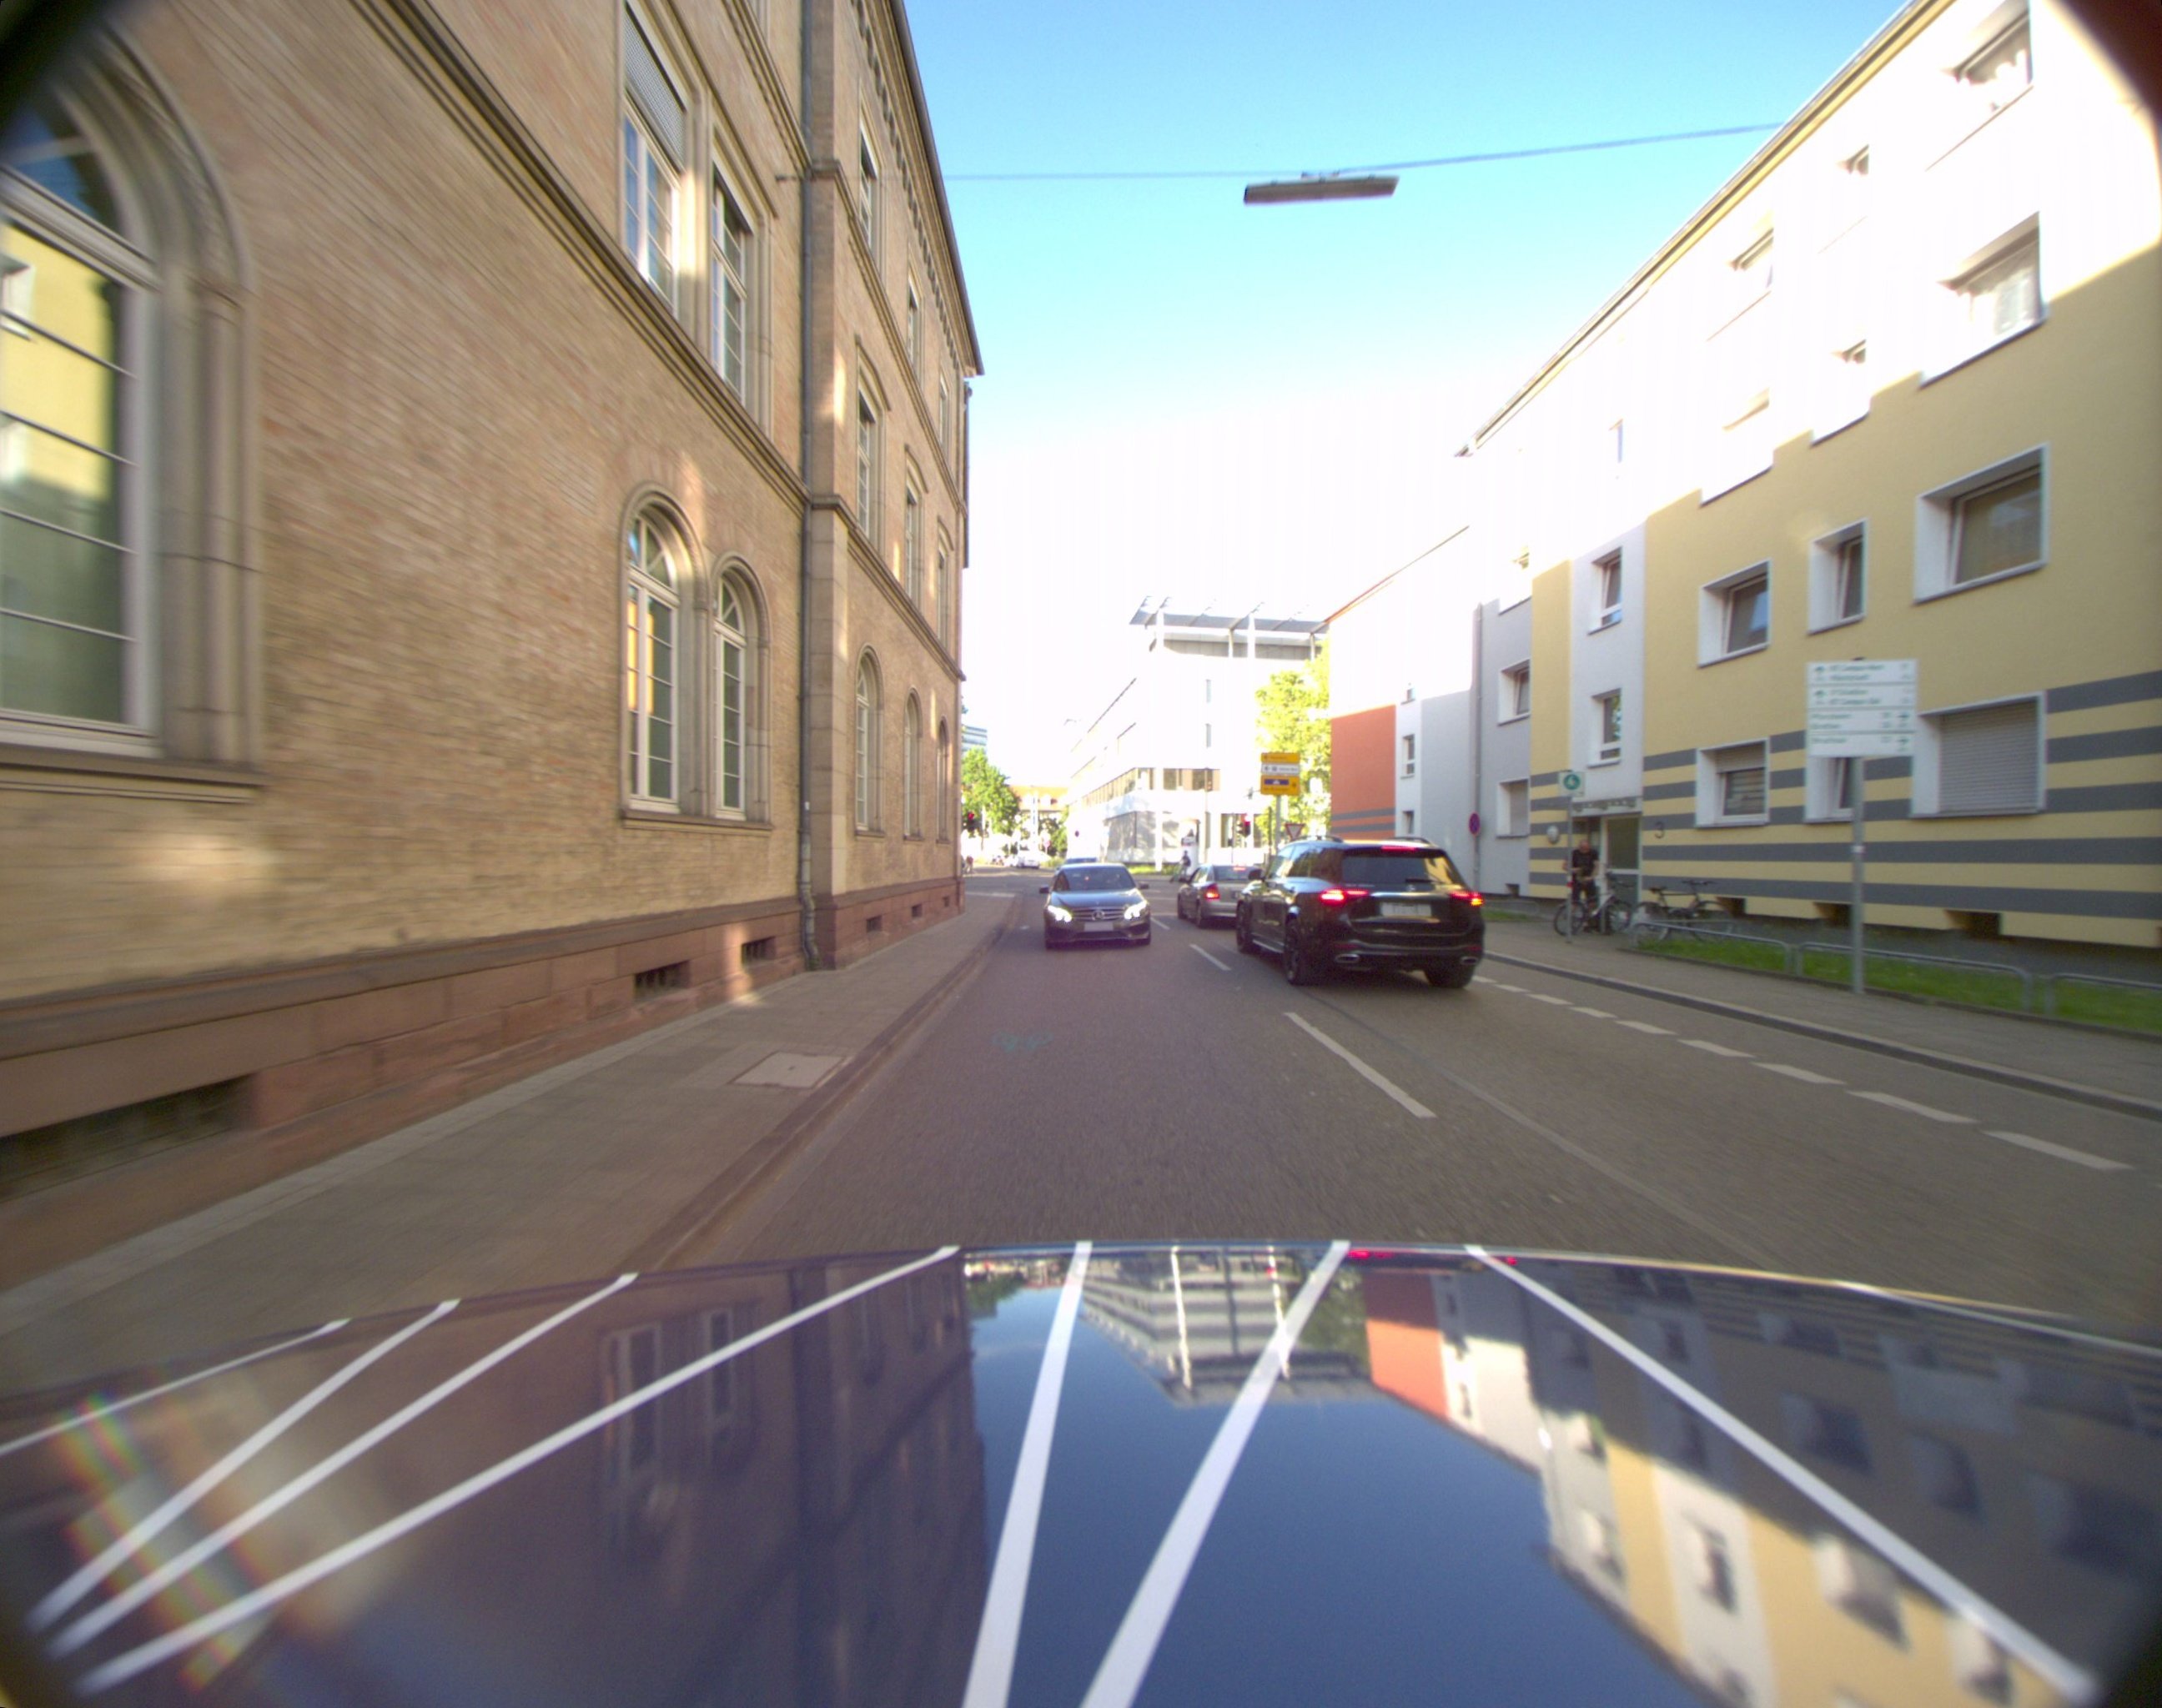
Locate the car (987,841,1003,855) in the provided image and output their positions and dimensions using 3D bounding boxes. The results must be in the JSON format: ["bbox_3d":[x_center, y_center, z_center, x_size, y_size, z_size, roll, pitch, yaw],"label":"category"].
[{"bbox_3d":[-12.237,-0.828,107.715,2.000,2.002,3.996,-1,0,-11],"label":"car"}]

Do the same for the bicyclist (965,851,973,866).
[{"bbox_3d":[-11.875,0.496,80.841,0.762,1.583,0.900,-1,1,-14],"label":"bicyclist"}]

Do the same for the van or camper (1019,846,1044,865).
[{"bbox_3d":[-5.332,0.101,81.736,2.163,2.002,4.971,0,0,-10],"label":"van or camper"}]

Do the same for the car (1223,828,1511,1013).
[{"bbox_3d":[3.383,0.666,10.264,1.905,1.824,5.094,2,0,0],"label":"car"}]

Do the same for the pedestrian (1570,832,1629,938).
[{"bbox_3d":[9.400,0.543,13.810,0.720,1.844,0.871,0,1,22],"label":"pedestrian"}]

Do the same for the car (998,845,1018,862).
[{"bbox_3d":[-8.812,-0.048,91.507,2.000,2.002,3.996,-1,0,-11],"label":"car"}]

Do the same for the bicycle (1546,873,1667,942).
[{"bbox_3d":[9.291,0.929,13.459,1.757,1.139,0.650,0,1,-7],"label":"bicycle"}]

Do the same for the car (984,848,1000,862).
[{"bbox_3d":[-13.177,0.123,112.091,2.000,2.001,3.997,-1,-1,-11],"label":"car"}]

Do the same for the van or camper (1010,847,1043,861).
[{"bbox_3d":[-8.568,0.012,118.851,4.736,2.075,1.996,-1,0,-20],"label":"van or camper"}]

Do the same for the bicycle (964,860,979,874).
[{"bbox_3d":[-8.253,0.957,57.198,0.943,1.032,3.003,-1,0,-11],"label":"bicycle"}]

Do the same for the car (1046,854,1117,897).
[{"bbox_3d":[0.105,0.799,30.401,1.745,1.594,4.005,0,0,17],"label":"car"}]

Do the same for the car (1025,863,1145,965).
[{"bbox_3d":[0.219,0.953,14.071,1.798,1.460,4.720,-2,0,4],"label":"car"}]

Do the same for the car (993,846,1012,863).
[{"bbox_3d":[-9.917,0.044,96.069,2.000,2.002,3.996,-1,0,-11],"label":"car"}]

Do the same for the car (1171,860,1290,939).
[{"bbox_3d":[3.223,0.914,17.179,1.745,1.477,4.136,2,0,-1],"label":"car"}]

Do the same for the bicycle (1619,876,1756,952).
[{"bbox_3d":[9.626,0.929,12.082,1.757,1.139,0.650,0,1,-7],"label":"bicycle"}]

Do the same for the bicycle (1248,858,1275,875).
[{"bbox_3d":[12.603,0.844,53.104,0.471,1.175,1.987,-2,1,-38],"label":"bicycle"}]

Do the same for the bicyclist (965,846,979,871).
[{"bbox_3d":[-8.209,0.327,57.029,0.978,1.797,1.130,-1,1,-10],"label":"bicyclist"}]
